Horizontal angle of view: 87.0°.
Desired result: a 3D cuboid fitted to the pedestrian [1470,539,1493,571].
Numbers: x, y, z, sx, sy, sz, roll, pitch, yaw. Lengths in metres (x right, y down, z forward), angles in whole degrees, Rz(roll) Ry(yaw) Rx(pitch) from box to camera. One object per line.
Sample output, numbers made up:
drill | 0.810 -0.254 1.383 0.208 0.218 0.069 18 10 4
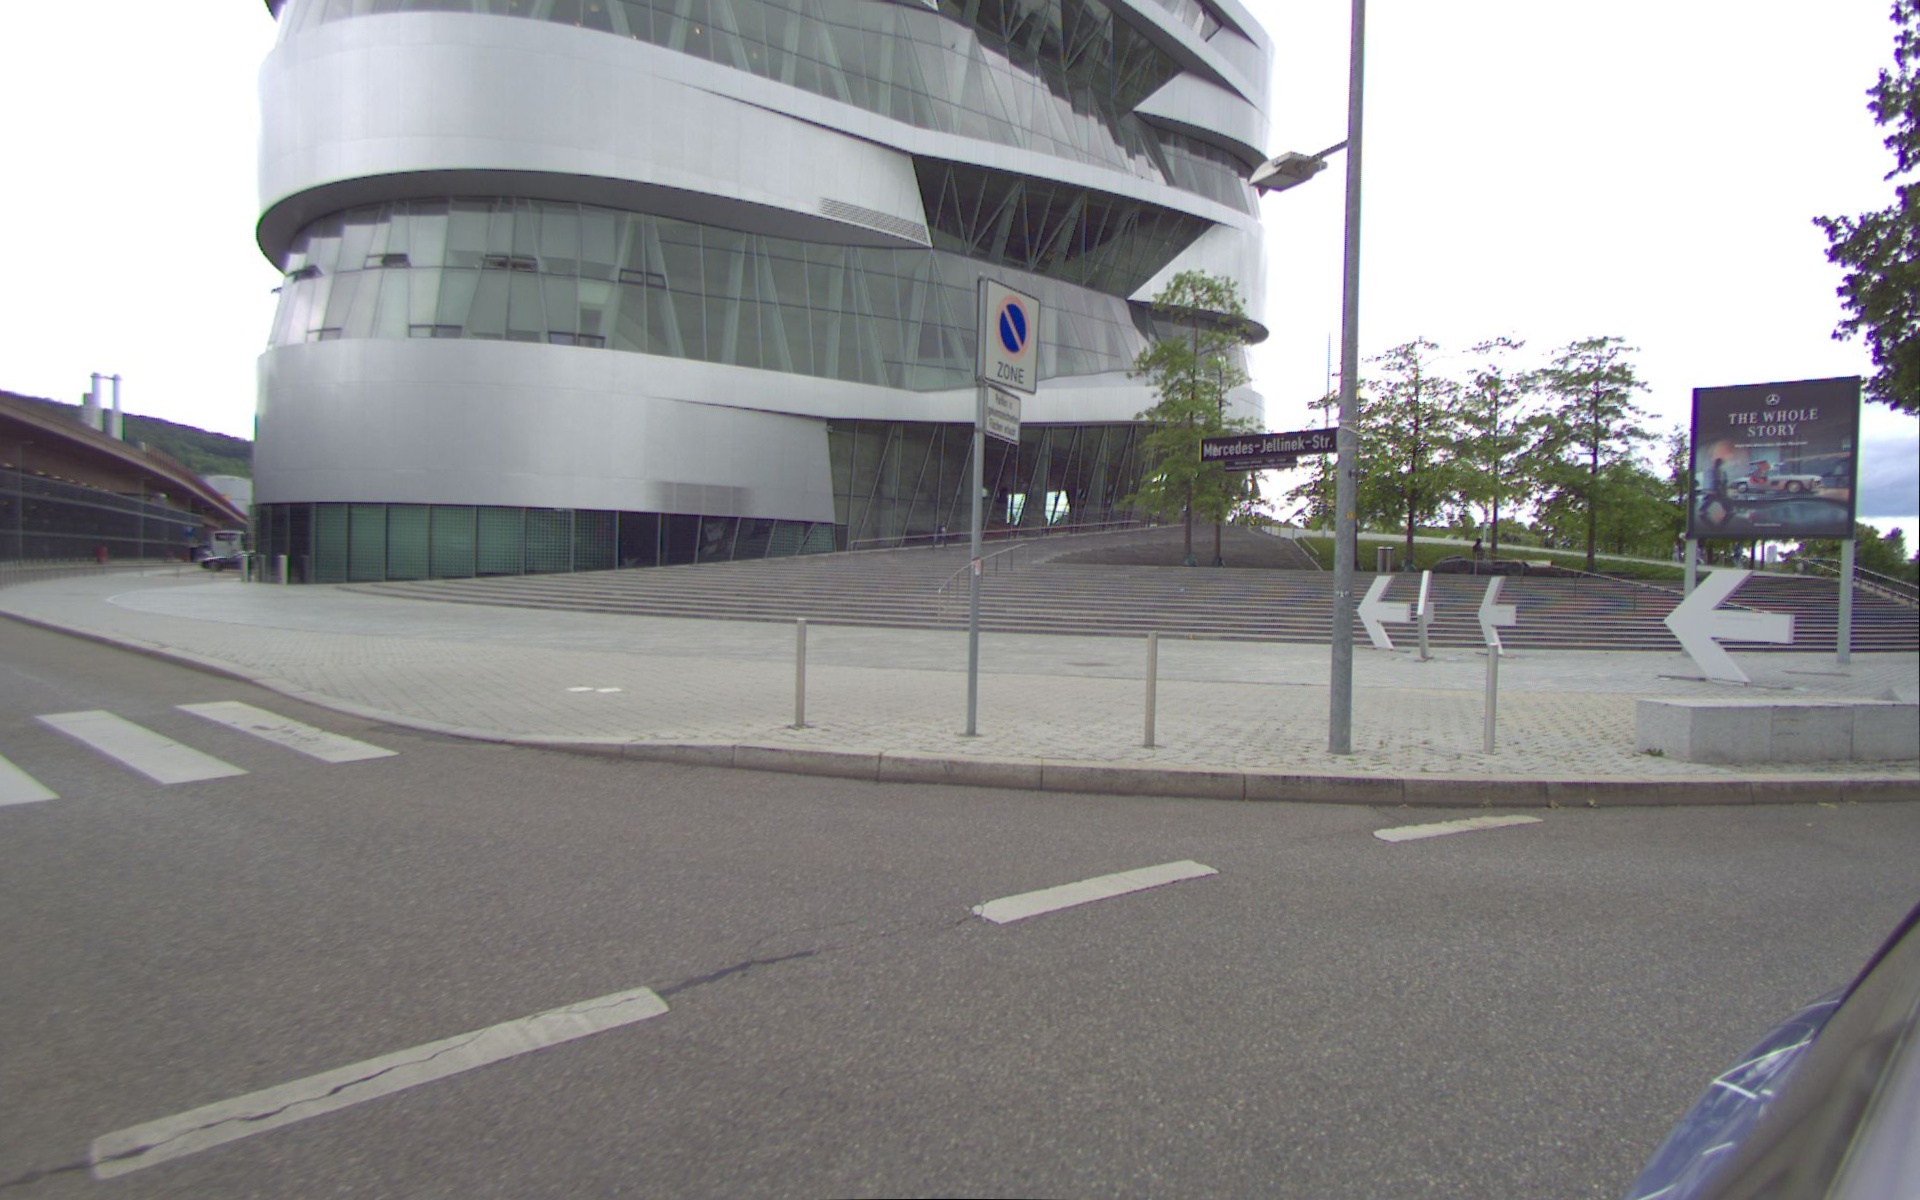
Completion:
pedestrian | 23.297 -2.018 45.240 0.781 1.404 0.679 2 0 18

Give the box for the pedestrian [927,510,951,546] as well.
pedestrian | -1.158 -3.991 56.044 0.935 1.947 0.852 -4 4 -38

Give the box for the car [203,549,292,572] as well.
car | -49.469 -2.703 70.371 4.807 1.416 1.537 1 1 -27

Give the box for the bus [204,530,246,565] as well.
bus | -78.078 -5.509 107.552 2.873 3.484 6.975 1 1 -30
